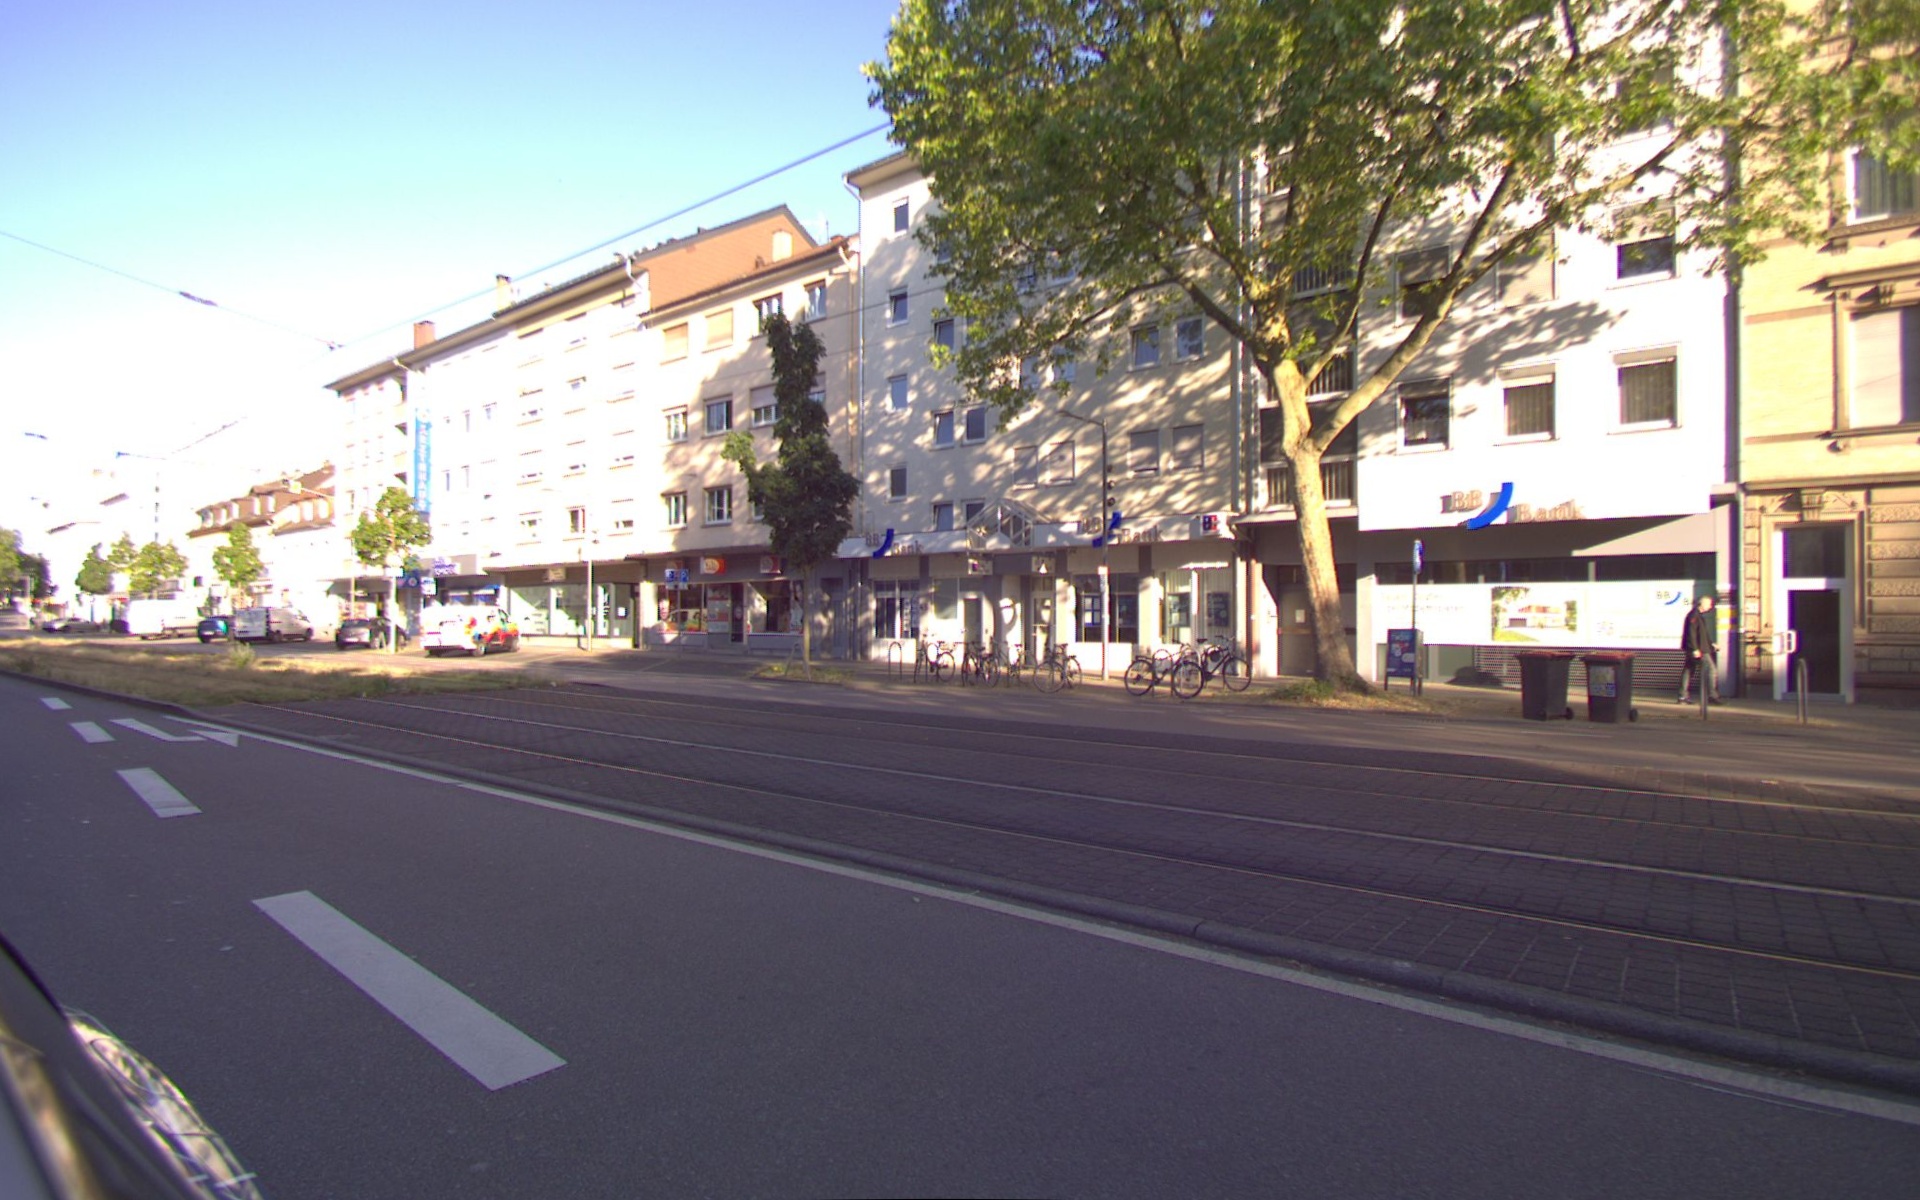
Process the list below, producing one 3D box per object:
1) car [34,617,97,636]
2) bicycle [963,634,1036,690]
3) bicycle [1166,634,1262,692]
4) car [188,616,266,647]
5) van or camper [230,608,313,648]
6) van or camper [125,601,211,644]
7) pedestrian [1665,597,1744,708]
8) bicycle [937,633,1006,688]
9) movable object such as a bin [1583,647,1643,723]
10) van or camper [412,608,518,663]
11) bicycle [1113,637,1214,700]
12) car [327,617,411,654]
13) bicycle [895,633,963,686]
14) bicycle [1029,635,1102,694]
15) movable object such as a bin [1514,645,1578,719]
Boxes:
[{"bbox_3d":[-80.492,2.384,91.097,1.754,1.501,3.895,-1,0,17],"label":"car"},{"bbox_3d":[0.901,1.345,22.420,0.651,1.133,1.876,-1,-1,37],"label":"bicycle"},{"bbox_3d":[5.281,1.281,21.107,1.910,1.133,0.503,-1,-1,42],"label":"bicycle"},{"bbox_3d":[-43.269,1.827,59.852,1.851,1.598,4.004,-1,0,-4],"label":"car"},{"bbox_3d":[-37.780,1.496,55.677,1.773,2.004,4.456,-1,0,-5],"label":"van or camper"},{"bbox_3d":[-53.831,1.450,68.962,1.967,2.687,6.414,-1,0,-12],"label":"van or camper"},{"bbox_3d":[12.555,0.857,17.073,0.971,1.801,0.611,-1,0,44],"label":"pedestrian"},{"bbox_3d":[0.279,1.350,22.925,0.533,1.133,1.876,-1,-1,37],"label":"bicycle"},{"bbox_3d":[9.796,1.261,15.193,0.469,1.102,0.575,0,-2,-10],"label":"movable object such as a bin"},{"bbox_3d":[-19.060,1.309,39.214,1.923,1.912,4.818,-1,0,-3],"label":"van or camper"},{"bbox_3d":[3.894,1.291,19.503,1.910,1.133,0.503,-1,-1,42],"label":"bicycle"},{"bbox_3d":[-27.332,1.589,46.956,1.742,1.501,4.458,-1,0,-7],"label":"car"},{"bbox_3d":[-0.701,1.361,23.706,0.533,1.133,1.876,-1,-1,37],"label":"bicycle"},{"bbox_3d":[2.239,1.325,21.349,0.651,1.133,1.876,-1,-1,37],"label":"bicycle"},{"bbox_3d":[9.044,1.259,15.646,0.536,1.102,0.649,0,-2,-10],"label":"movable object such as a bin"}]
